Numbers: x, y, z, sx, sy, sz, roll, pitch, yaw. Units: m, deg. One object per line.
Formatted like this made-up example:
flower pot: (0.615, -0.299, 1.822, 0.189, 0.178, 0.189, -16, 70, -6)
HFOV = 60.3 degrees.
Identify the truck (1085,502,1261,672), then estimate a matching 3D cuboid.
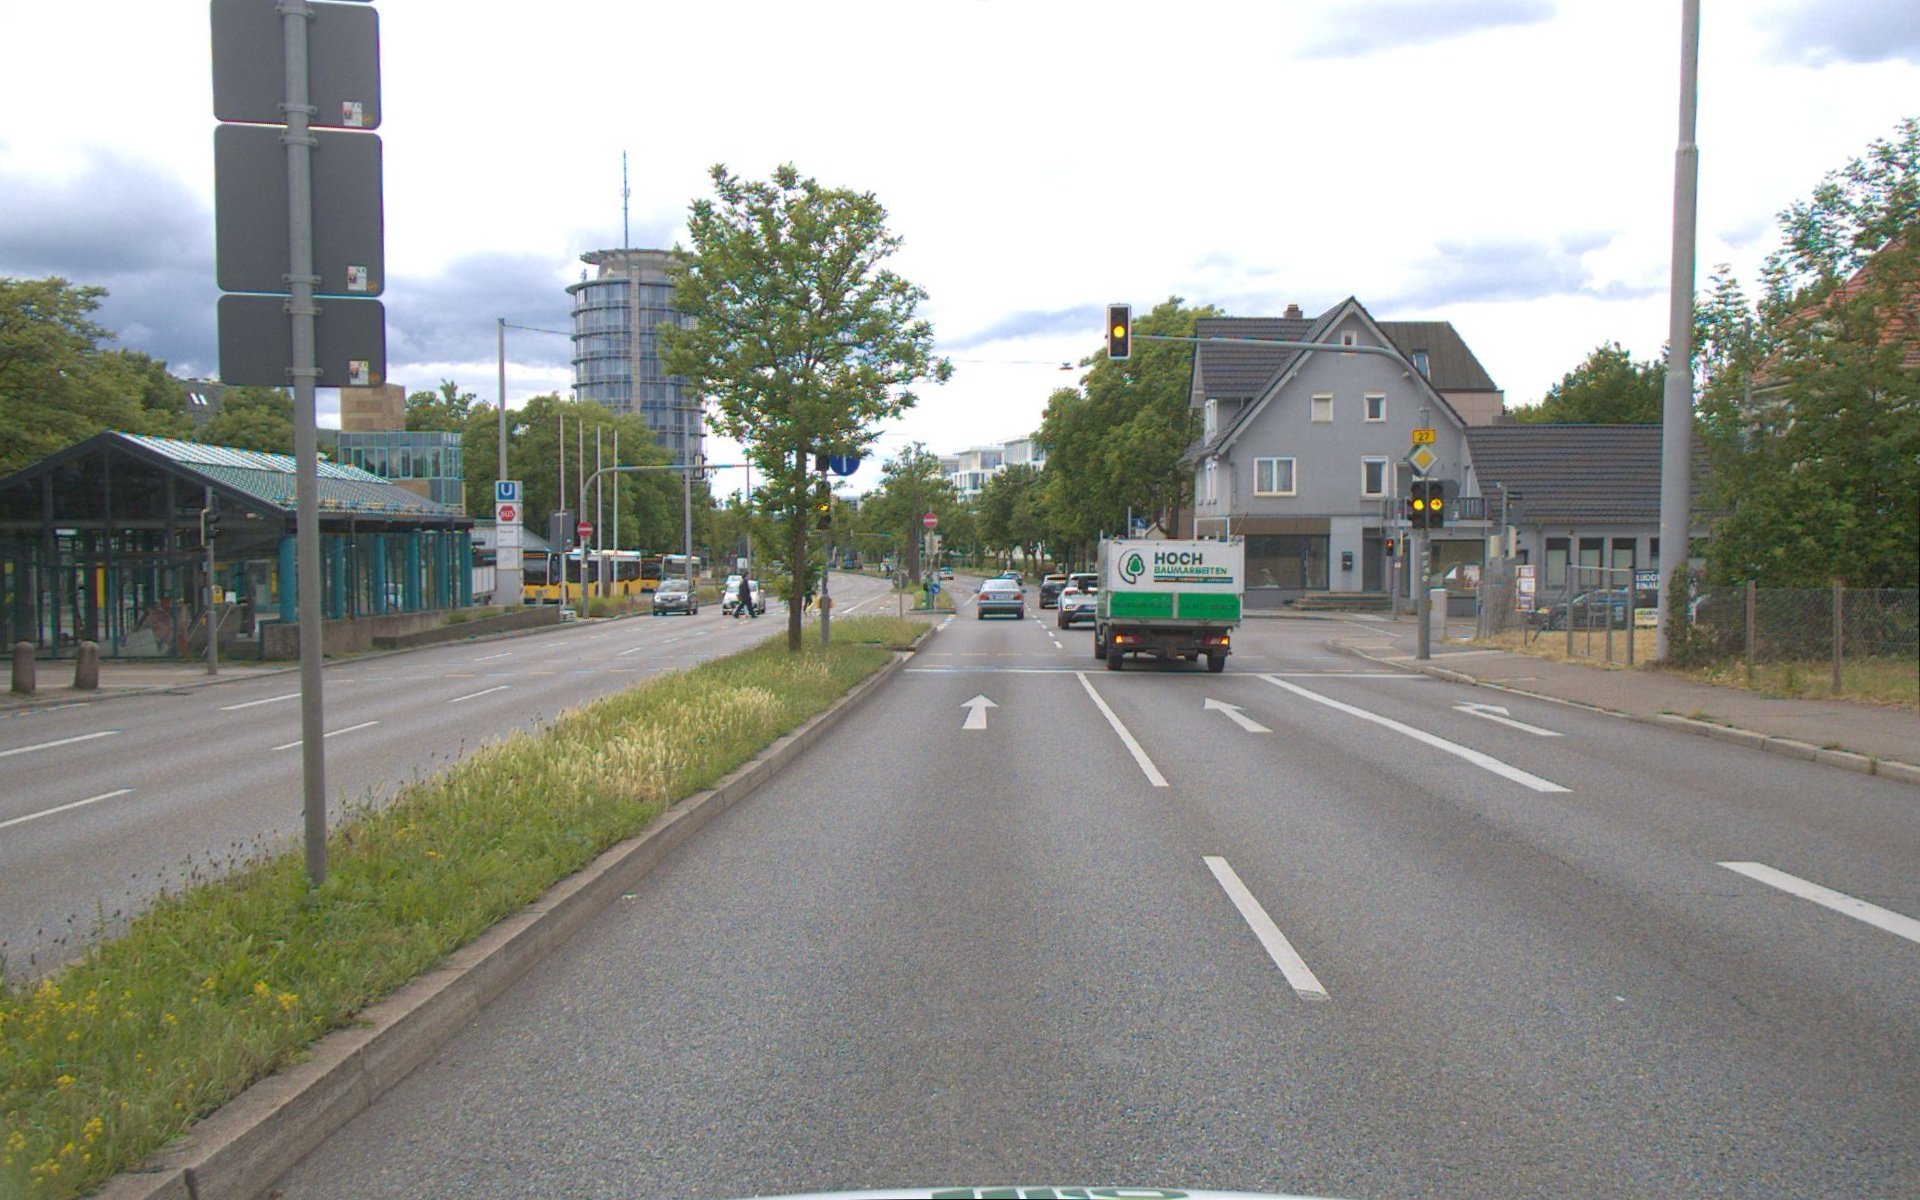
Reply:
truck: (3.601, -0.308, 29.356, 2.419, 2.656, 6.550, 1, 2, 1)

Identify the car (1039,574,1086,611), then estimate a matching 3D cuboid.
car: (4.582, -0.358, 74.670, 1.952, 1.579, 4.001, 1, 1, 1)

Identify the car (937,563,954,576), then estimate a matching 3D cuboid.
car: (-1.752, -3.682, 199.516, 1.953, 1.545, 3.999, -1, 1, -2)

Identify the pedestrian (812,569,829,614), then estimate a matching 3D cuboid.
pedestrian: (-5.482, -0.350, 64.938, 0.640, 1.746, 0.452, -1, 0, -5)

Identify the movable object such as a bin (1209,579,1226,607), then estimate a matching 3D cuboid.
movable object such as a bin: (10.270, -0.273, 65.874, 0.592, 1.078, 0.590, 1, 0, 3)

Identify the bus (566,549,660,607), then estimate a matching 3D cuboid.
bus: (-22.066, -1.405, 105.885, 2.772, 3.490, 10.741, -1, 1, 6)

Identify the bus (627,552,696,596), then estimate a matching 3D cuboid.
bus: (-24.736, -2.174, 137.690, 2.772, 3.490, 10.741, -1, 1, 6)

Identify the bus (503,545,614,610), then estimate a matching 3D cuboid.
bus: (-23.081, -1.292, 95.783, 2.772, 3.490, 10.741, -1, 1, 6)

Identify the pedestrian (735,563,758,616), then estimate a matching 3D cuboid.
pedestrian: (-8.363, -0.426, 64.773, 0.814, 2.049, 0.545, -1, 0, -5)

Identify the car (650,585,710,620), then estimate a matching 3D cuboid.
car: (-12.499, 0.098, 74.110, 1.952, 1.512, 4.000, -1, 1, 0)

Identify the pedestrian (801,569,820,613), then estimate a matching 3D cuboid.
pedestrian: (-5.910, -0.352, 65.526, 0.731, 1.746, 0.582, -1, 0, -5)

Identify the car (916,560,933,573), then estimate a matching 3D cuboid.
car: (-4.258, -4.069, 198.953, 1.953, 1.545, 3.999, -1, 1, -2)

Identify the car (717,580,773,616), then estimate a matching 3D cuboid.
car: (-9.566, -0.111, 73.848, 1.952, 1.512, 4.000, -1, 1, 0)

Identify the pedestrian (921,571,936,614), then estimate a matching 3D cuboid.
pedestrian: (-1.288, -0.311, 67.797, 0.572, 1.746, 0.545, -1, 0, -5)

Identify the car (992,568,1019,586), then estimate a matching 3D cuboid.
car: (4.232, -2.120, 153.623, 1.956, 1.579, 3.994, -1, 1, -7)

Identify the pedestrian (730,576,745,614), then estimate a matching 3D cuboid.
pedestrian: (-8.849, -0.205, 65.659, 0.532, 1.522, 0.486, -1, 0, -4)

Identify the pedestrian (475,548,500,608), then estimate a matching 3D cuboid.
pedestrian: (-16.425, -0.768, 57.496, 0.667, 2.049, 0.645, -1, 0, -3)

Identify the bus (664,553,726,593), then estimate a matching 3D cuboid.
bus: (-23.674, -2.401, 148.404, 2.772, 3.490, 10.741, -1, 1, 6)

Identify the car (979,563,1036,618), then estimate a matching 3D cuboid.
car: (1.685, -0.358, 58.501, 1.952, 1.862, 4.001, 0, 1, 1)
